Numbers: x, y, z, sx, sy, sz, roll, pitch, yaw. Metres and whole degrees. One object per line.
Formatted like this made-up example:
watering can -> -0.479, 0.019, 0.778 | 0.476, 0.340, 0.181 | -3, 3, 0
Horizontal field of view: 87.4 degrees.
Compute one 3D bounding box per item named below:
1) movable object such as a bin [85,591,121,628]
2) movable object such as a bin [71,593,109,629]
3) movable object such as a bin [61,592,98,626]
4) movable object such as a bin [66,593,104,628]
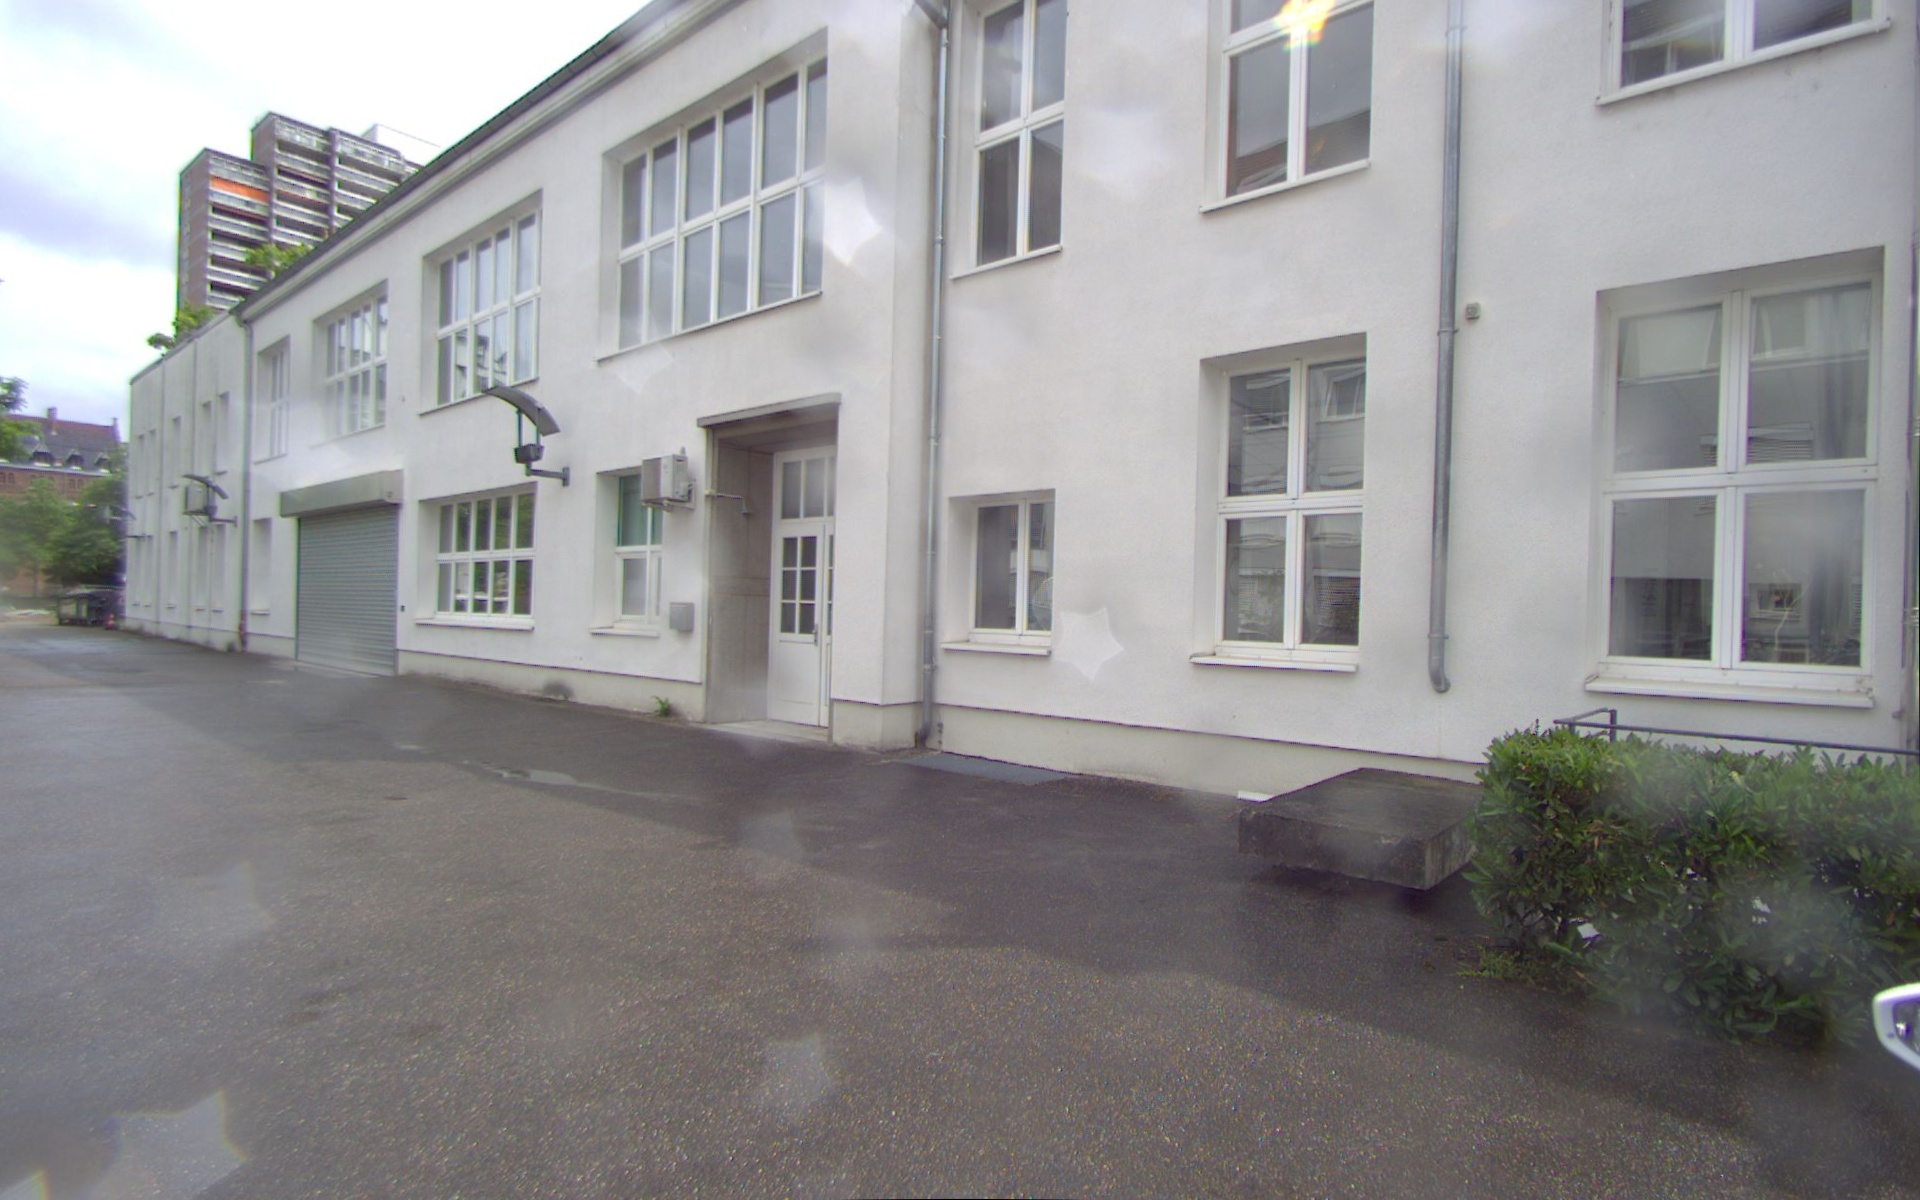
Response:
movable object such as a bin -> -33.060, 0.373, 38.755 | 0.907, 1.374, 0.972 | 2, 0, 45
movable object such as a bin -> -34.458, 0.438, 39.772 | 1.191, 1.374, 1.039 | 2, 0, 45
movable object such as a bin -> -36.572, 0.375, 41.710 | 1.247, 1.374, 1.060 | 2, 0, 45
movable object such as a bin -> -35.425, 0.409, 40.657 | 1.202, 1.374, 1.057 | 2, 0, 45
